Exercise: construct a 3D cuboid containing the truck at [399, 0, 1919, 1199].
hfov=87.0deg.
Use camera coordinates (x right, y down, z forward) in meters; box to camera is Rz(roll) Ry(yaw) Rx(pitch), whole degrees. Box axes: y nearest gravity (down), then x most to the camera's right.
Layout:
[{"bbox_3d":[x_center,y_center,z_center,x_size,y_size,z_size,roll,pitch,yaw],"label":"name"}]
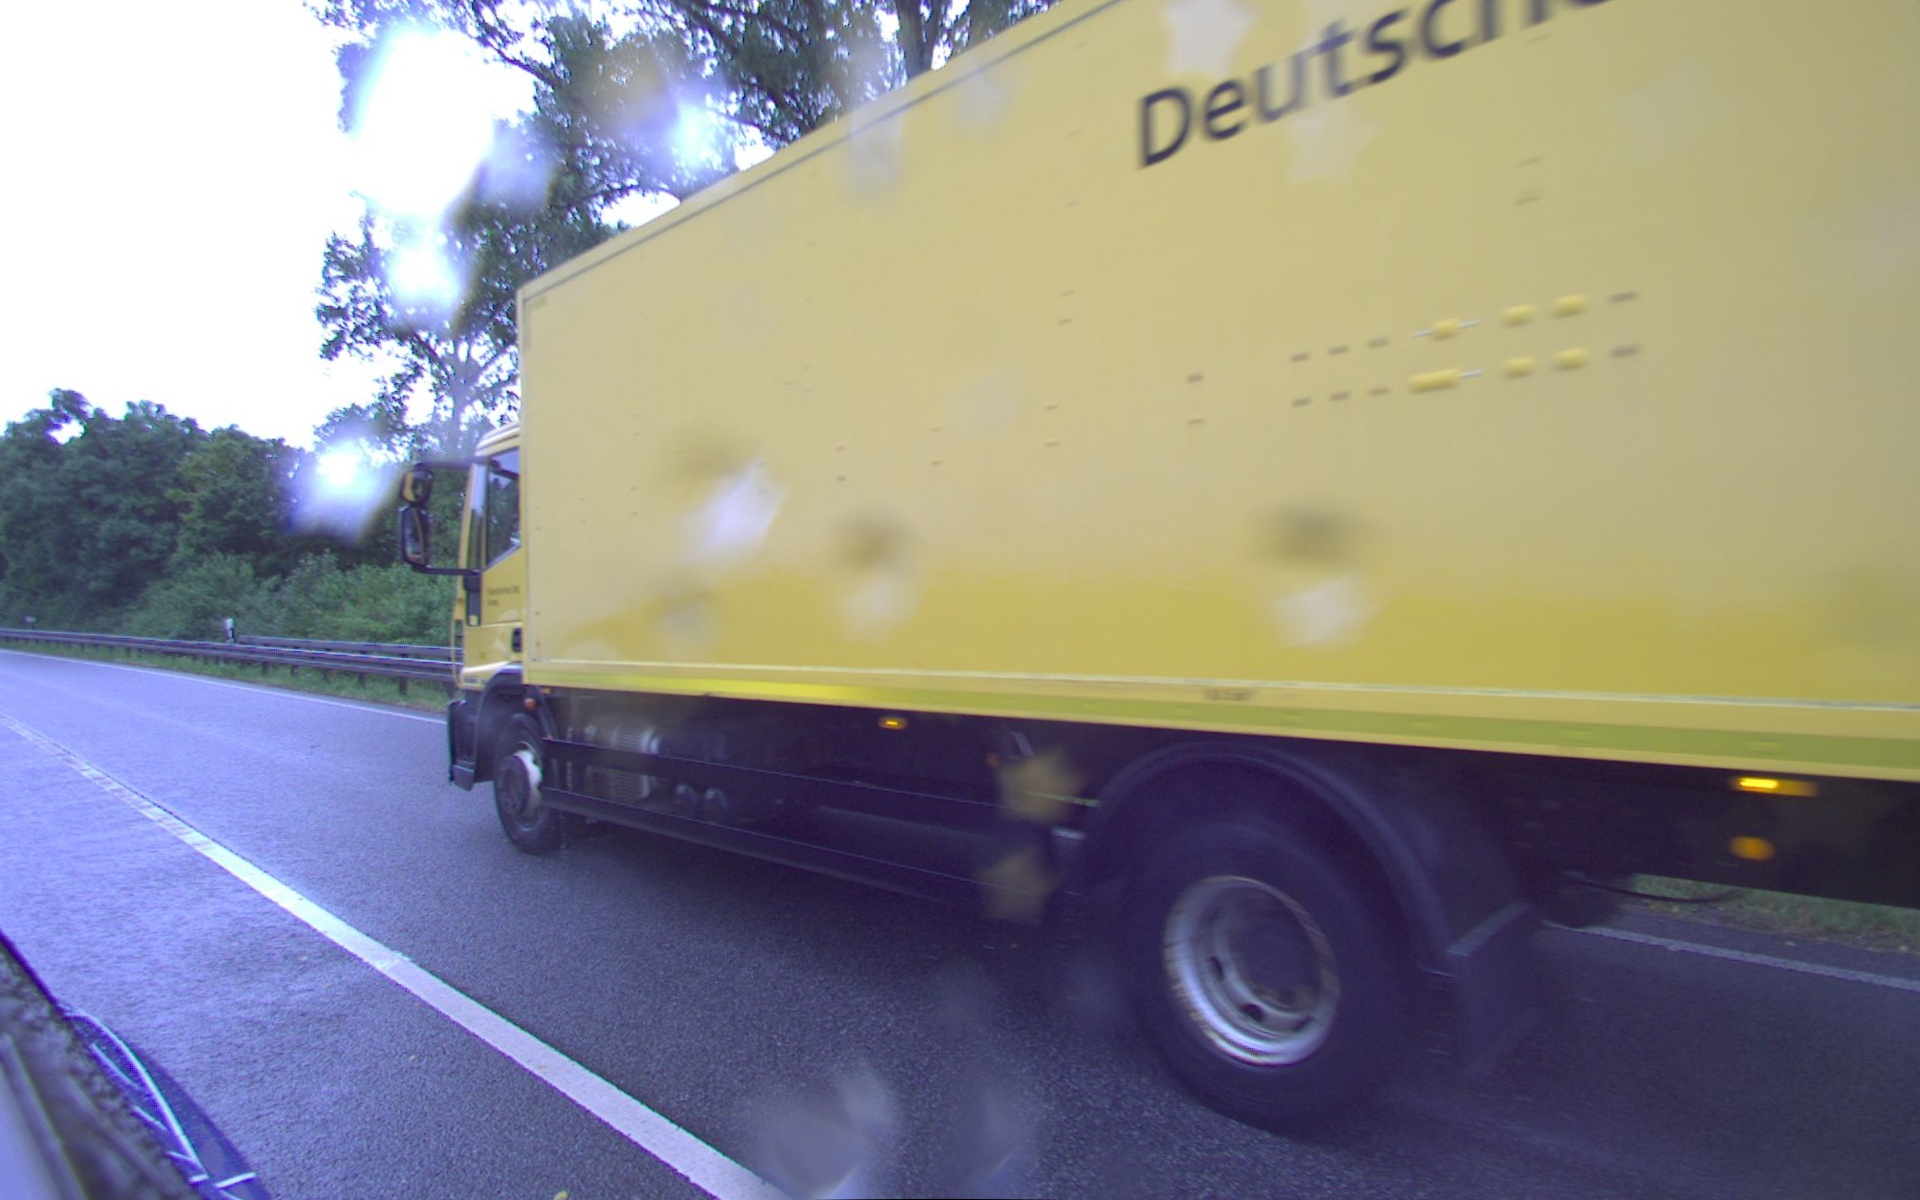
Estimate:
[{"bbox_3d":[0.737,-0.330,4.356,9.186,3.455,2.741,-1,-1,42],"label":"truck"}]
